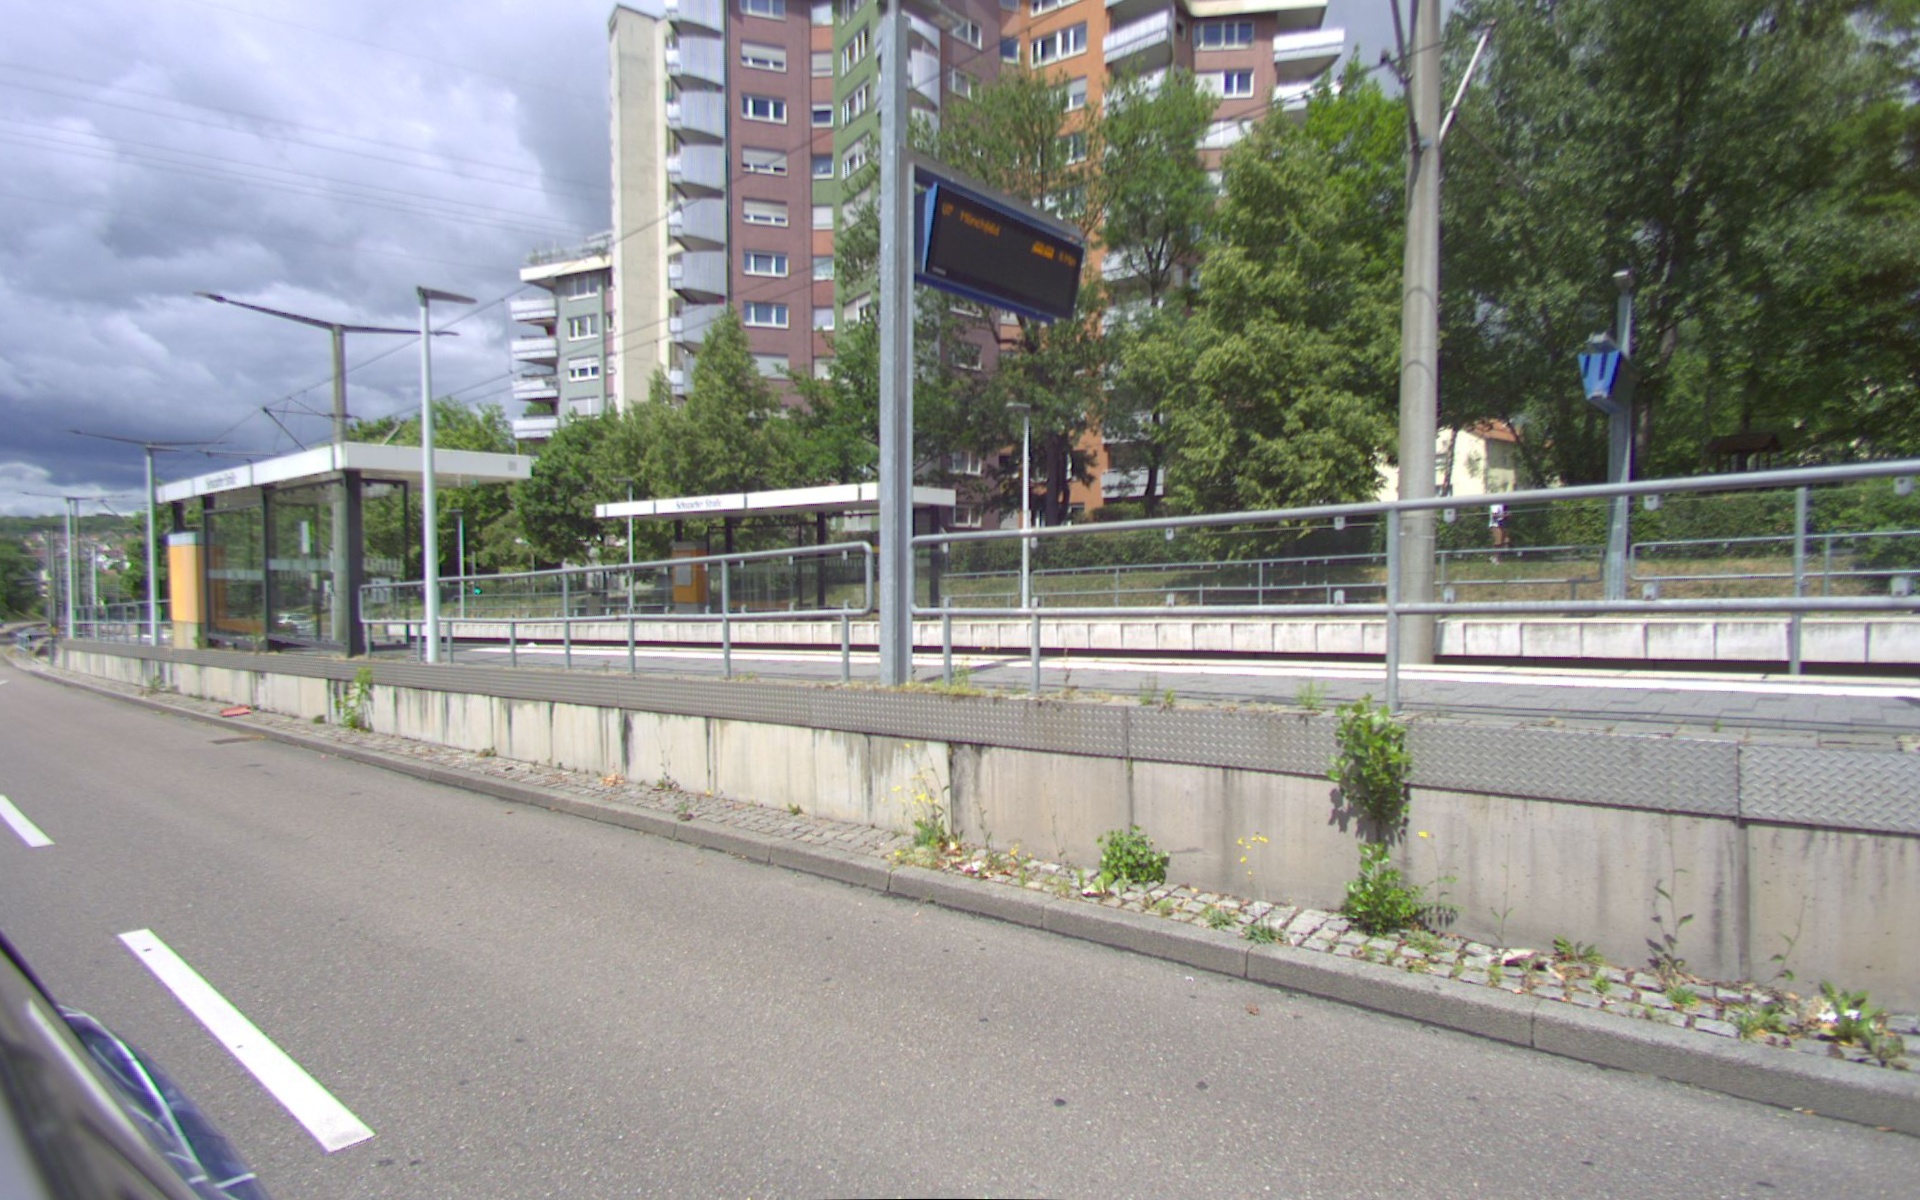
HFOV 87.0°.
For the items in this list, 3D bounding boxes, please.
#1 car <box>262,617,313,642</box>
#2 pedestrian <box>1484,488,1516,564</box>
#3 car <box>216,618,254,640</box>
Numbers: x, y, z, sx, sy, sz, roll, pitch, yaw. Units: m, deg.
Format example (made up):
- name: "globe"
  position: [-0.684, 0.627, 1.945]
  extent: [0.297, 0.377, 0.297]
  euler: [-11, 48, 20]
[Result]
- name: "car"
  position: [-41.843, 1.825, 62.941]
  extent: [3.998, 1.429, 1.637]
  euler: [-1, -1, 41]
- name: "pedestrian"
  position: [12.831, -1.744, 24.038]
  extent: [0.504, 1.725, 0.643]
  euler: [-2, -1, 40]
- name: "car"
  position: [-53.670, 2.145, 74.908]
  extent: [3.739, 1.524, 1.636]
  euler: [-2, -1, 44]
